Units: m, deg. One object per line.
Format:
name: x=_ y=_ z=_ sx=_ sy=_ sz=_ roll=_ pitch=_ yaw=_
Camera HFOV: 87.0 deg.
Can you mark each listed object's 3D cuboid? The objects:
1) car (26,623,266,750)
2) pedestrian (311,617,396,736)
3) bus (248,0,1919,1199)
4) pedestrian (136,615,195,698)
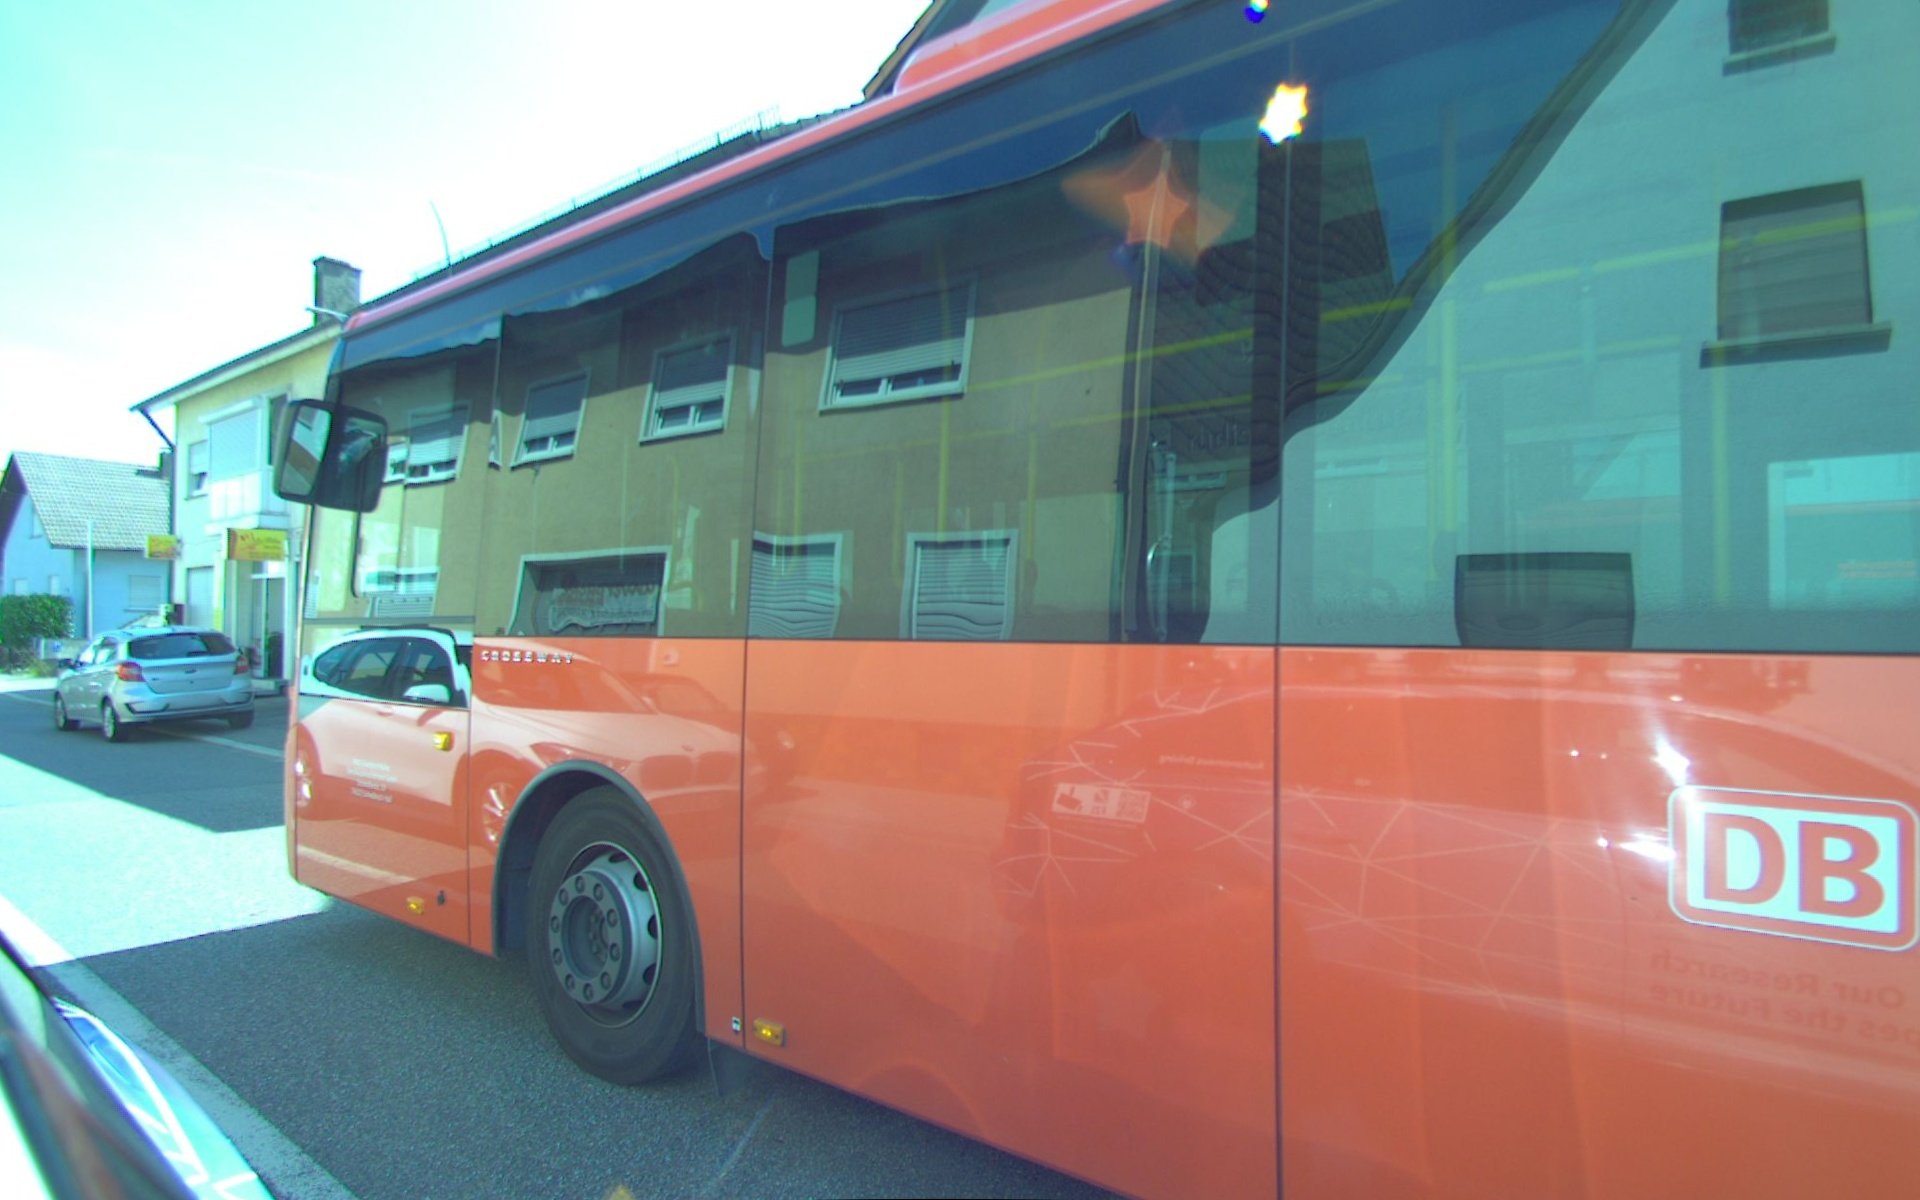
car: x=-12.063 y=1.158 z=14.929 sx=3.992 sy=1.527 sz=1.729 roll=-1 pitch=2 yaw=36
pedestrian: x=-8.568 y=1.045 z=14.304 sx=0.955 sy=1.595 sz=0.748 roll=-1 pitch=0 yaw=39
bus: x=2.483 y=-0.120 z=2.039 sx=11.999 sy=3.257 sz=2.603 roll=-1 pitch=-4 yaw=36
pedestrian: x=-16.066 y=1.118 z=20.466 sx=0.955 sy=1.595 sz=0.748 roll=-1 pitch=0 yaw=39
